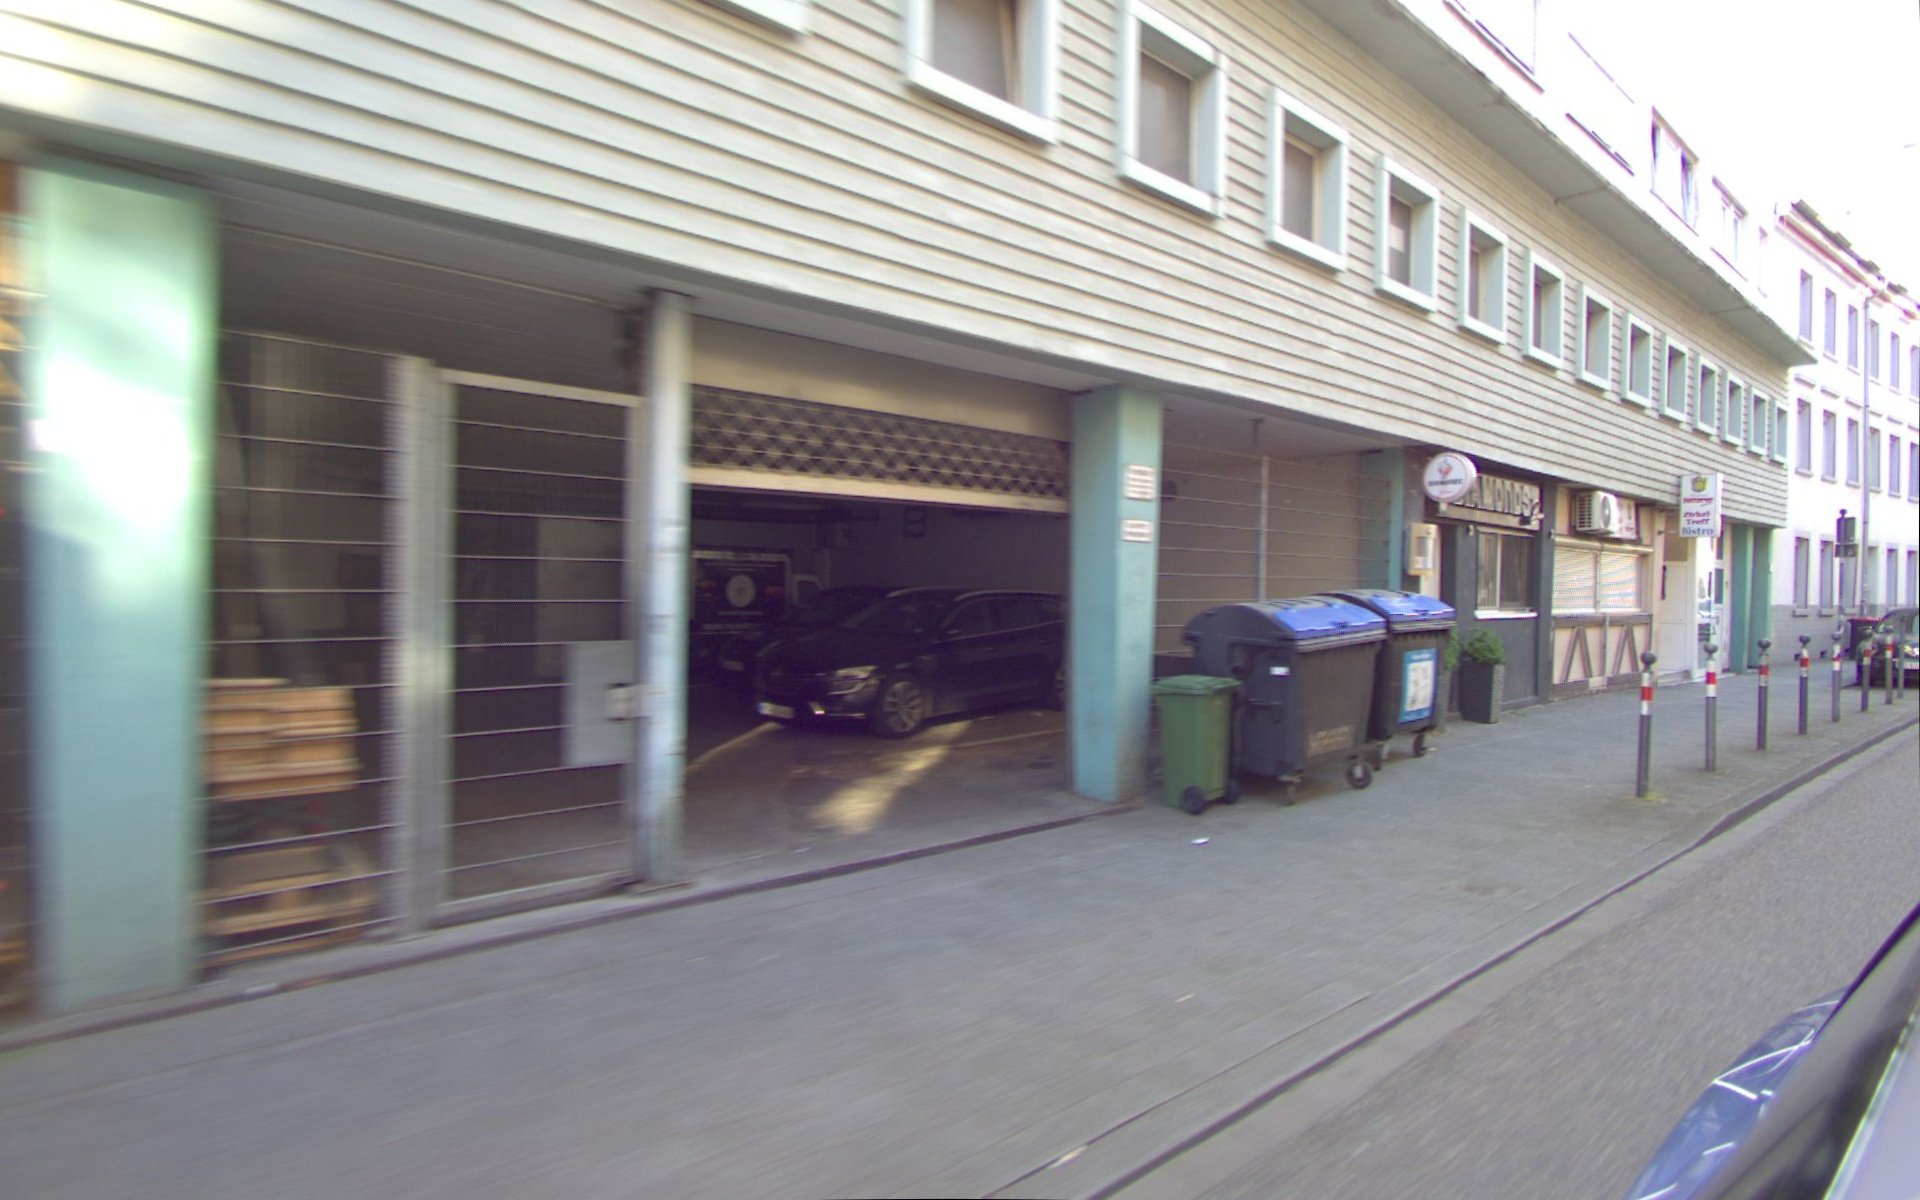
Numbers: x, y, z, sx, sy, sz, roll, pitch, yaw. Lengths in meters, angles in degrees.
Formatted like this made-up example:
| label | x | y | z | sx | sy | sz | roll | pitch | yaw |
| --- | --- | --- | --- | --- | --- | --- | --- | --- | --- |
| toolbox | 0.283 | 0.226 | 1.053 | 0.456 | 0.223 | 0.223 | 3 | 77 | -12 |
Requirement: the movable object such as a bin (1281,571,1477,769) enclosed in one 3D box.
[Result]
| label | x | y | z | sx | sy | sz | roll | pitch | yaw |
| --- | --- | --- | --- | --- | --- | --- | --- | --- | --- |
| movable object such as a bin | 3.655 | 0.526 | 8.812 | 1.524 | 1.497 | 0.983 | -3 | 4 | -40 |

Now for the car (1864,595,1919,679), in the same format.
| label | x | y | z | sx | sy | sz | roll | pitch | yaw |
| --- | --- | --- | --- | --- | --- | --- | --- | --- | --- |
| car | 18.836 | 0.658 | 19.229 | 4.290 | 1.508 | 1.887 | 0 | 0 | -40 |

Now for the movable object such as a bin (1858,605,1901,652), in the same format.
| label | x | y | z | sx | sy | sz | roll | pitch | yaw |
| --- | --- | --- | --- | --- | --- | --- | --- | --- | --- |
| movable object such as a bin | 22.780 | 0.697 | 25.070 | 0.696 | 1.063 | 0.608 | 0 | 5 | -39 |

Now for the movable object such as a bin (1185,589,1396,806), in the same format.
| label | x | y | z | sx | sy | sz | roll | pitch | yaw |
| --- | --- | --- | --- | --- | --- | --- | --- | --- | --- |
| movable object such as a bin | 2.508 | 0.657 | 7.680 | 1.298 | 1.401 | 0.983 | -3 | 4 | -40 |

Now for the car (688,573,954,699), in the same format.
| label | x | y | z | sx | sy | sz | roll | pitch | yaw |
| --- | --- | --- | --- | --- | --- | --- | --- | --- | --- |
| car | -1.848 | 0.415 | 13.972 | 3.341 | 1.487 | 1.584 | 0 | 2 | -43 |

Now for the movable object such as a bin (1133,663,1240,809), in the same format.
| label | x | y | z | sx | sy | sz | roll | pitch | yaw |
| --- | --- | --- | --- | --- | --- | --- | --- | --- | --- |
| movable object such as a bin | 1.628 | 0.952 | 7.283 | 0.514 | 0.910 | 0.558 | -3 | 4 | -40 |

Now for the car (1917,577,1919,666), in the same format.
| label | x | y | z | sx | sy | sz | roll | pitch | yaw |
| --- | --- | --- | --- | --- | --- | --- | --- | --- | --- |
| car | 22.998 | 0.473 | 22.453 | 4.756 | 1.906 | 1.888 | 0 | 0 | -38 |

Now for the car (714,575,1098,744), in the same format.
| label | x | y | z | sx | sy | sz | roll | pitch | yaw |
| --- | --- | --- | --- | --- | --- | --- | --- | --- | --- |
| car | -0.455 | 0.501 | 11.476 | 4.212 | 1.450 | 1.829 | -2 | 4 | -44 |
